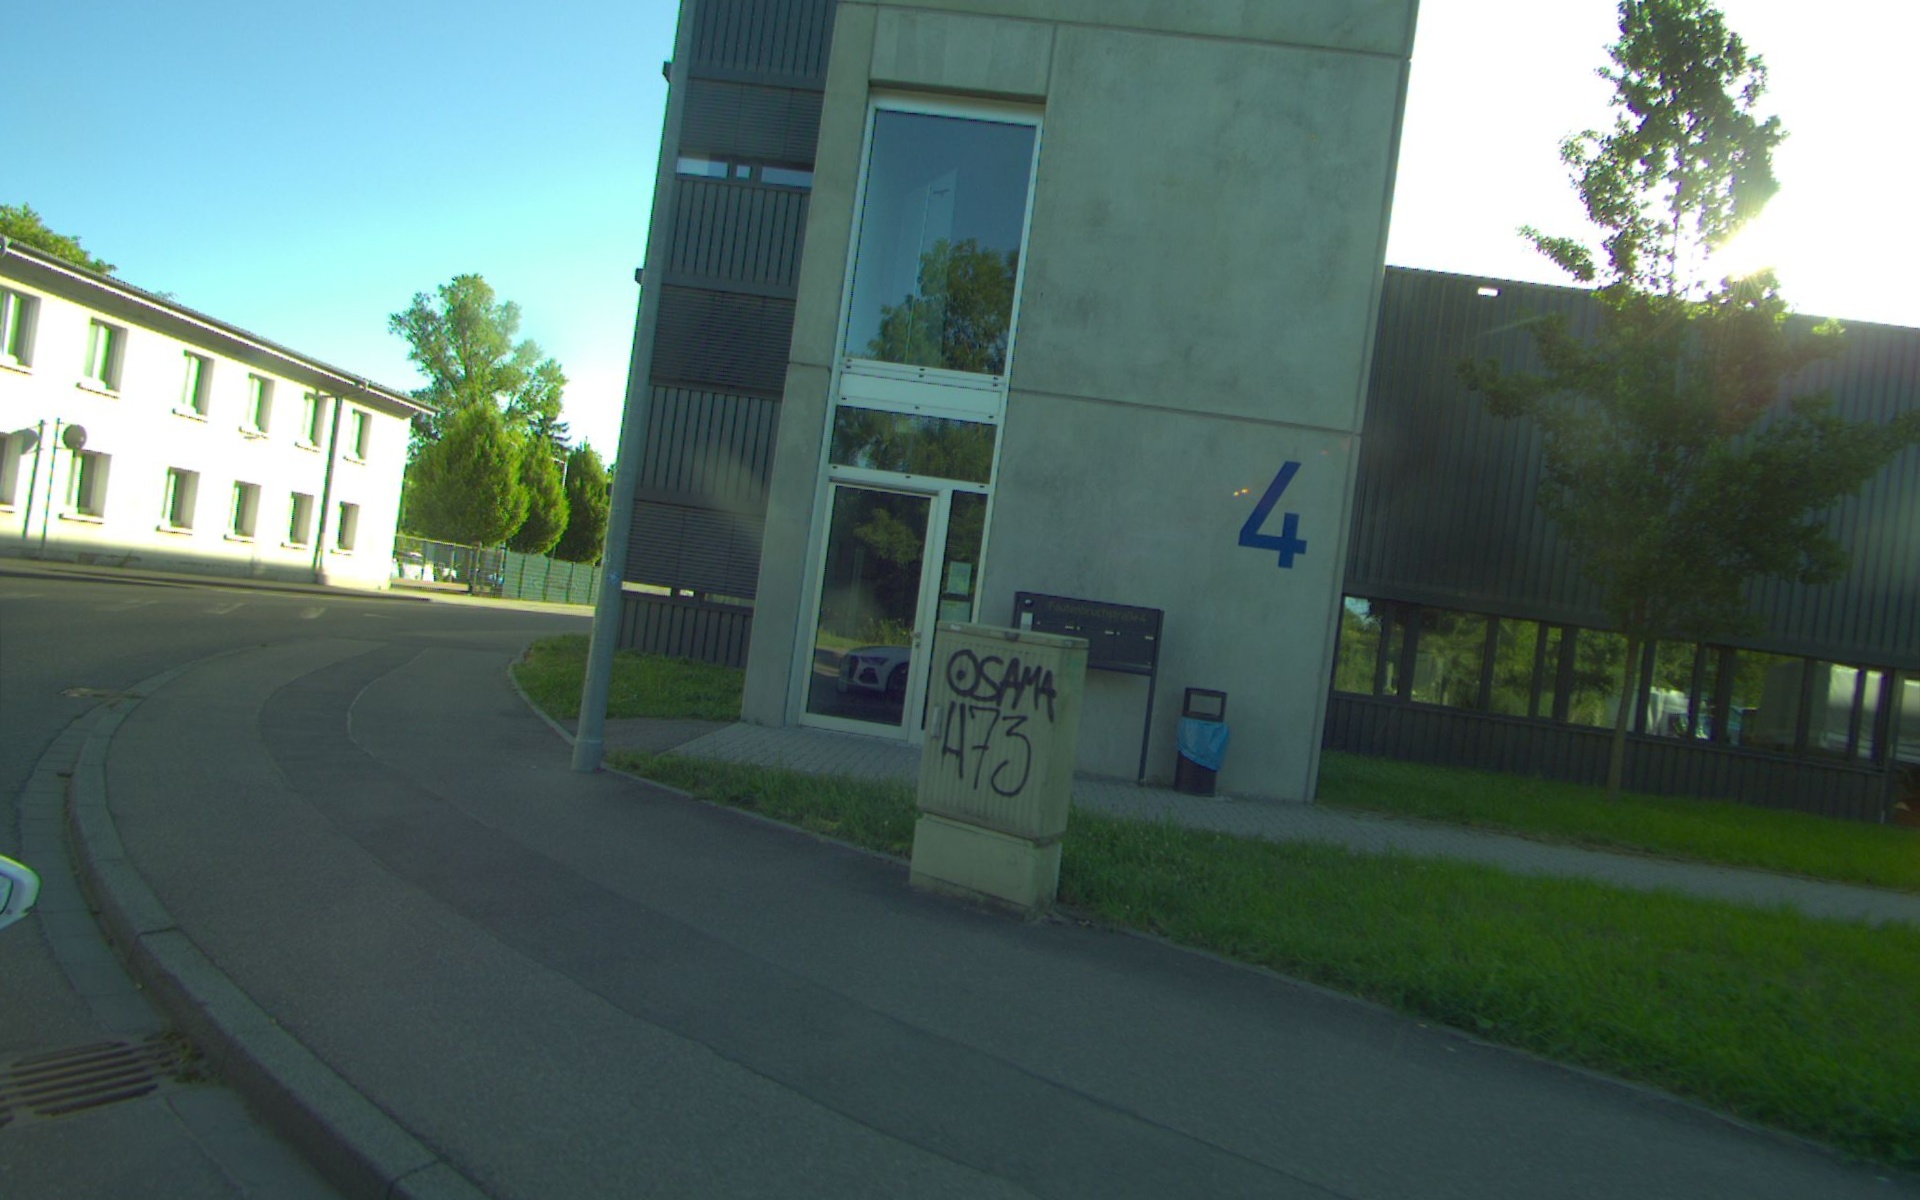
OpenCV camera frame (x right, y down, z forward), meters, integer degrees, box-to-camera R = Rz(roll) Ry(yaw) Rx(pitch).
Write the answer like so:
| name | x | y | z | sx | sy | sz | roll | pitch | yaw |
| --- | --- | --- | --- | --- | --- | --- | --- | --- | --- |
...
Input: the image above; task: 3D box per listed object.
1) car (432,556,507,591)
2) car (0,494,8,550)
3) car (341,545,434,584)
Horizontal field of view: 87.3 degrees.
| name | x | y | z | sx | sy | sz | roll | pitch | yaw |
| --- | --- | --- | --- | --- | --- | --- | --- | --- | --- |
| car | -28.021 | -1.493 | 57.588 | 1.962 | 1.468 | 4.003 | 8 | -2 | 4 |
| car | -14.897 | -0.979 | 12.770 | 1.715 | 1.522 | 4.497 | 8 | -2 | -10 |
| car | -31.242 | -1.940 | 54.956 | 3.924 | 1.559 | 1.877 | 6 | -1 | 4 |
